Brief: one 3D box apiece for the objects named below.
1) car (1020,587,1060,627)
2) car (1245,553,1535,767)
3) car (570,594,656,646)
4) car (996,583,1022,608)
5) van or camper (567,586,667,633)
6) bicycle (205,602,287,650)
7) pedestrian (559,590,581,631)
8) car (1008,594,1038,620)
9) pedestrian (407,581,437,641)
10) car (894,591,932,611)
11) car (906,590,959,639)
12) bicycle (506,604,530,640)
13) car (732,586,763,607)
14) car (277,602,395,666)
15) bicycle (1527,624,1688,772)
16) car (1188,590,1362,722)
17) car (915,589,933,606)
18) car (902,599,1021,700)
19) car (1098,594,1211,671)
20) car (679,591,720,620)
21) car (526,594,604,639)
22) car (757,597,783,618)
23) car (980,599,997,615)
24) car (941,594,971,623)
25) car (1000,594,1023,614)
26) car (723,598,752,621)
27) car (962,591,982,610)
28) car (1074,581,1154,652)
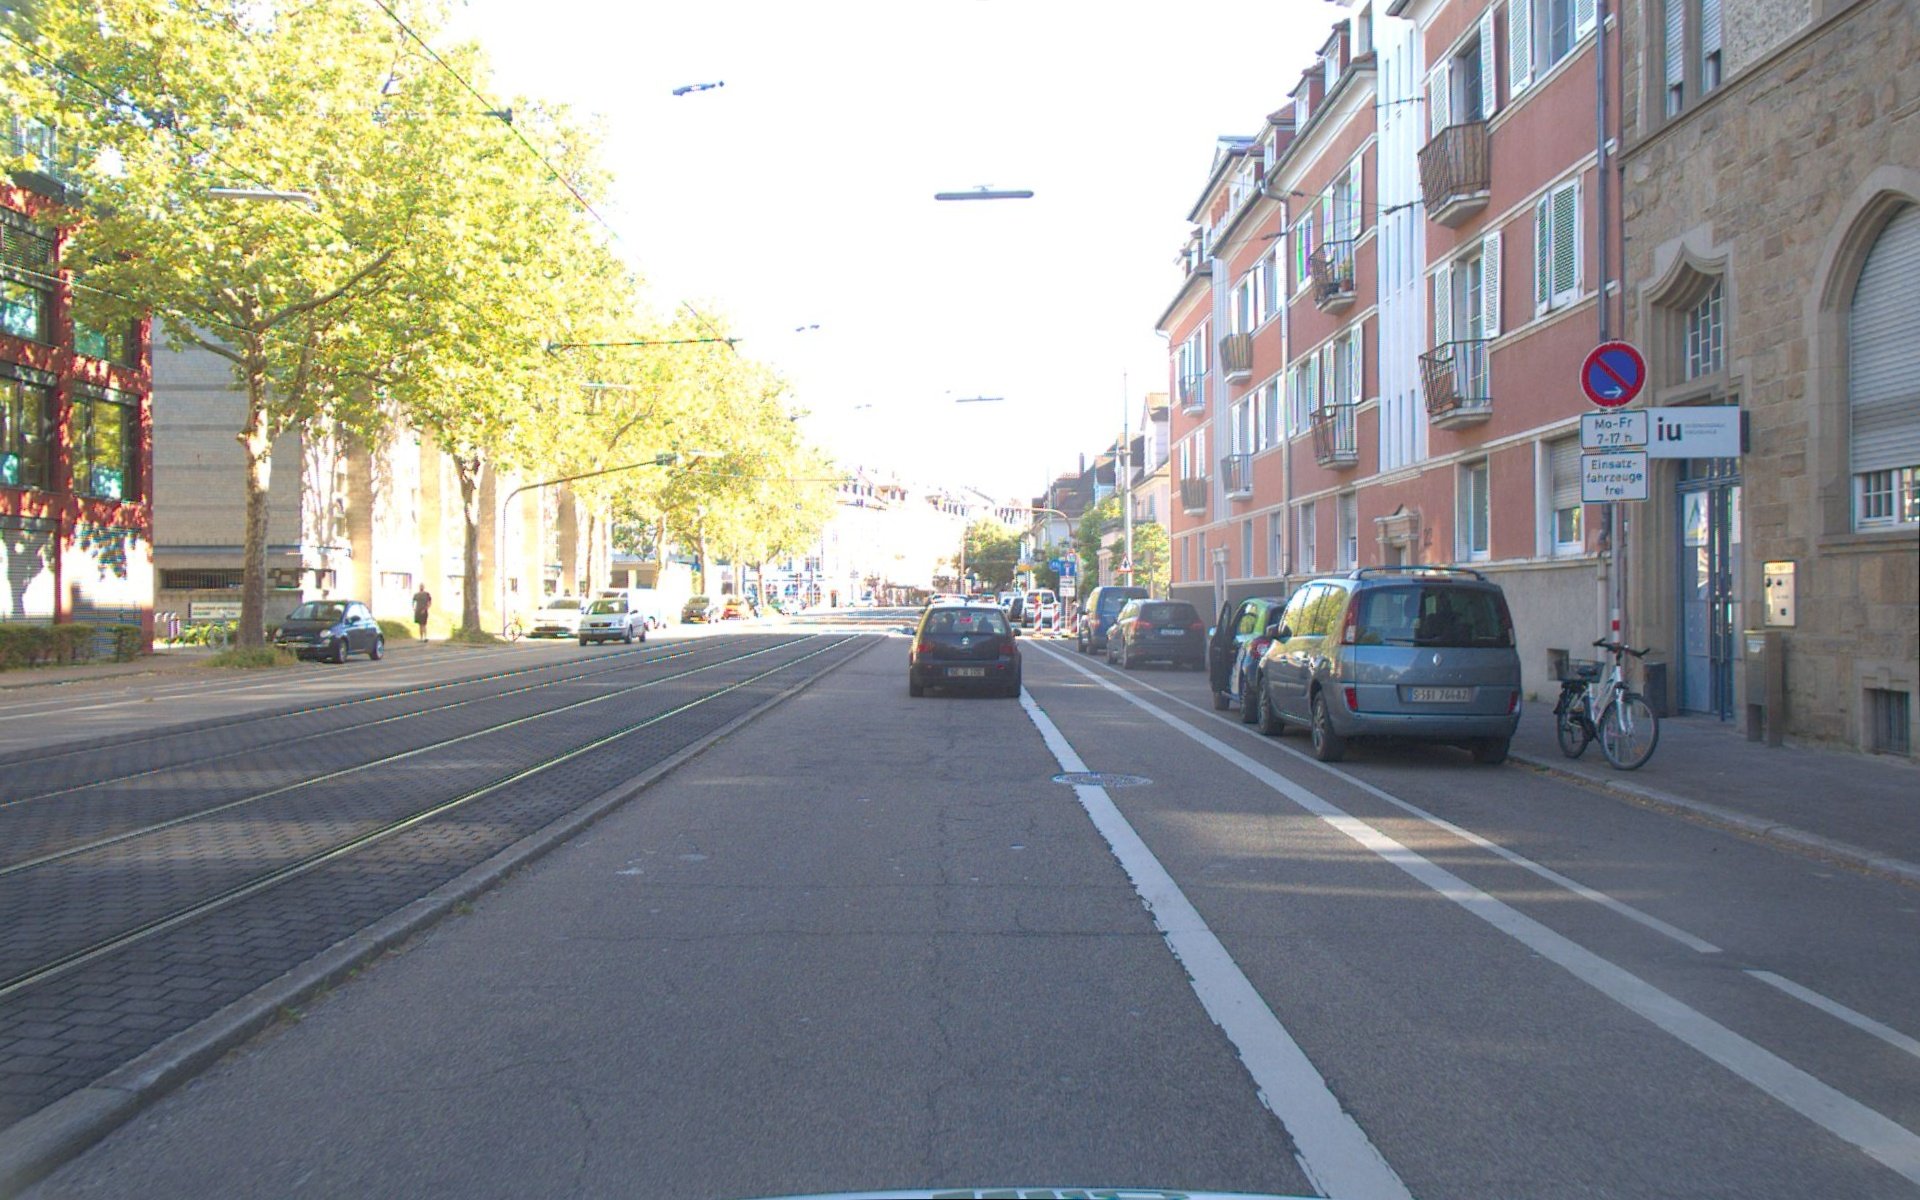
[{"bbox_3d":[3.864,0.323,80.494,1.723,1.870,3.547,2,0,0],"label":"car"},{"bbox_3d":[4.232,0.525,17.082,1.717,1.888,4.815,1,0,0],"label":"car"},{"bbox_3d":[-11.135,0.611,53.331,1.716,1.544,4.072,-2,0,3],"label":"car"},{"bbox_3d":[3.633,-0.330,122.868,1.780,1.830,4.000,0,0,0],"label":"car"},{"bbox_3d":[-15.412,0.431,74.600,2.017,1.983,5.191,2,0,19],"label":"van or camper"},{"bbox_3d":[-20.000,0.728,46.366,1.967,1.301,0.664,1,0,0],"label":"bicycle"},{"bbox_3d":[-17.980,0.497,76.289,0.780,1.852,0.670,2,0,-1],"label":"pedestrian"},{"bbox_3d":[3.791,0.416,100.252,1.627,1.552,4.036,0,0,0],"label":"car"},{"bbox_3d":[-17.163,0.347,52.728,0.776,1.902,0.665,1,0,-28],"label":"pedestrian"},{"bbox_3d":[-5.234,0.114,184.007,3.916,2.049,1.994,2,0,-12],"label":"car"},{"bbox_3d":[-0.892,0.453,55.448,1.713,1.564,3.892,0,0,0],"label":"car"},{"bbox_3d":[-15.669,0.782,58.664,0.570,1.230,1.652,2,0,-6],"label":"bicycle"},{"bbox_3d":[-16.033,-0.267,124.967,1.756,1.491,3.835,3,0,0],"label":"car"},{"bbox_3d":[-15.052,0.806,40.073,1.476,1.479,3.463,1,0,1],"label":"car"},{"bbox_3d":[5.790,0.834,14.925,0.504,1.159,2.258,-2,1,-1],"label":"bicycle"},{"bbox_3d":[4.042,0.666,21.739,1.598,1.538,3.717,2,0,1],"label":"car"},{"bbox_3d":[-3.556,-0.256,161.799,1.603,1.498,3.729,-4,0,0],"label":"car"},{"bbox_3d":[-0.034,0.712,25.826,1.713,1.399,3.999,0,0,-2],"label":"car"},{"bbox_3d":[4.241,0.661,36.695,1.719,1.538,4.760,2,0,-3],"label":"car"},{"bbox_3d":[-15.547,0.337,98.907,1.849,1.695,4.000,0,0,0],"label":"car"},{"bbox_3d":[-15.283,0.610,64.249,1.971,1.600,4.692,2,0,-2],"label":"car"},{"bbox_3d":[-16.553,0.661,144.115,1.846,1.698,3.803,2,0,-1],"label":"car"},{"bbox_3d":[2.847,0.686,164.454,1.634,1.626,3.650,0,0,0],"label":"car"},{"bbox_3d":[-0.230,0.445,88.742,1.602,1.498,3.729,0,0,0],"label":"car"},{"bbox_3d":[3.664,0.268,118.102,1.548,1.399,4.000,0,0,0],"label":"car"},{"bbox_3d":[-15.501,0.688,115.399,1.538,1.560,3.572,0,-1,0],"label":"car"},{"bbox_3d":[1.012,0.028,137.747,1.602,1.498,3.729,0,0,0],"label":"car"},{"bbox_3d":[4.155,0.429,45.202,1.668,1.842,4.270,0,0,-2],"label":"car"}]
